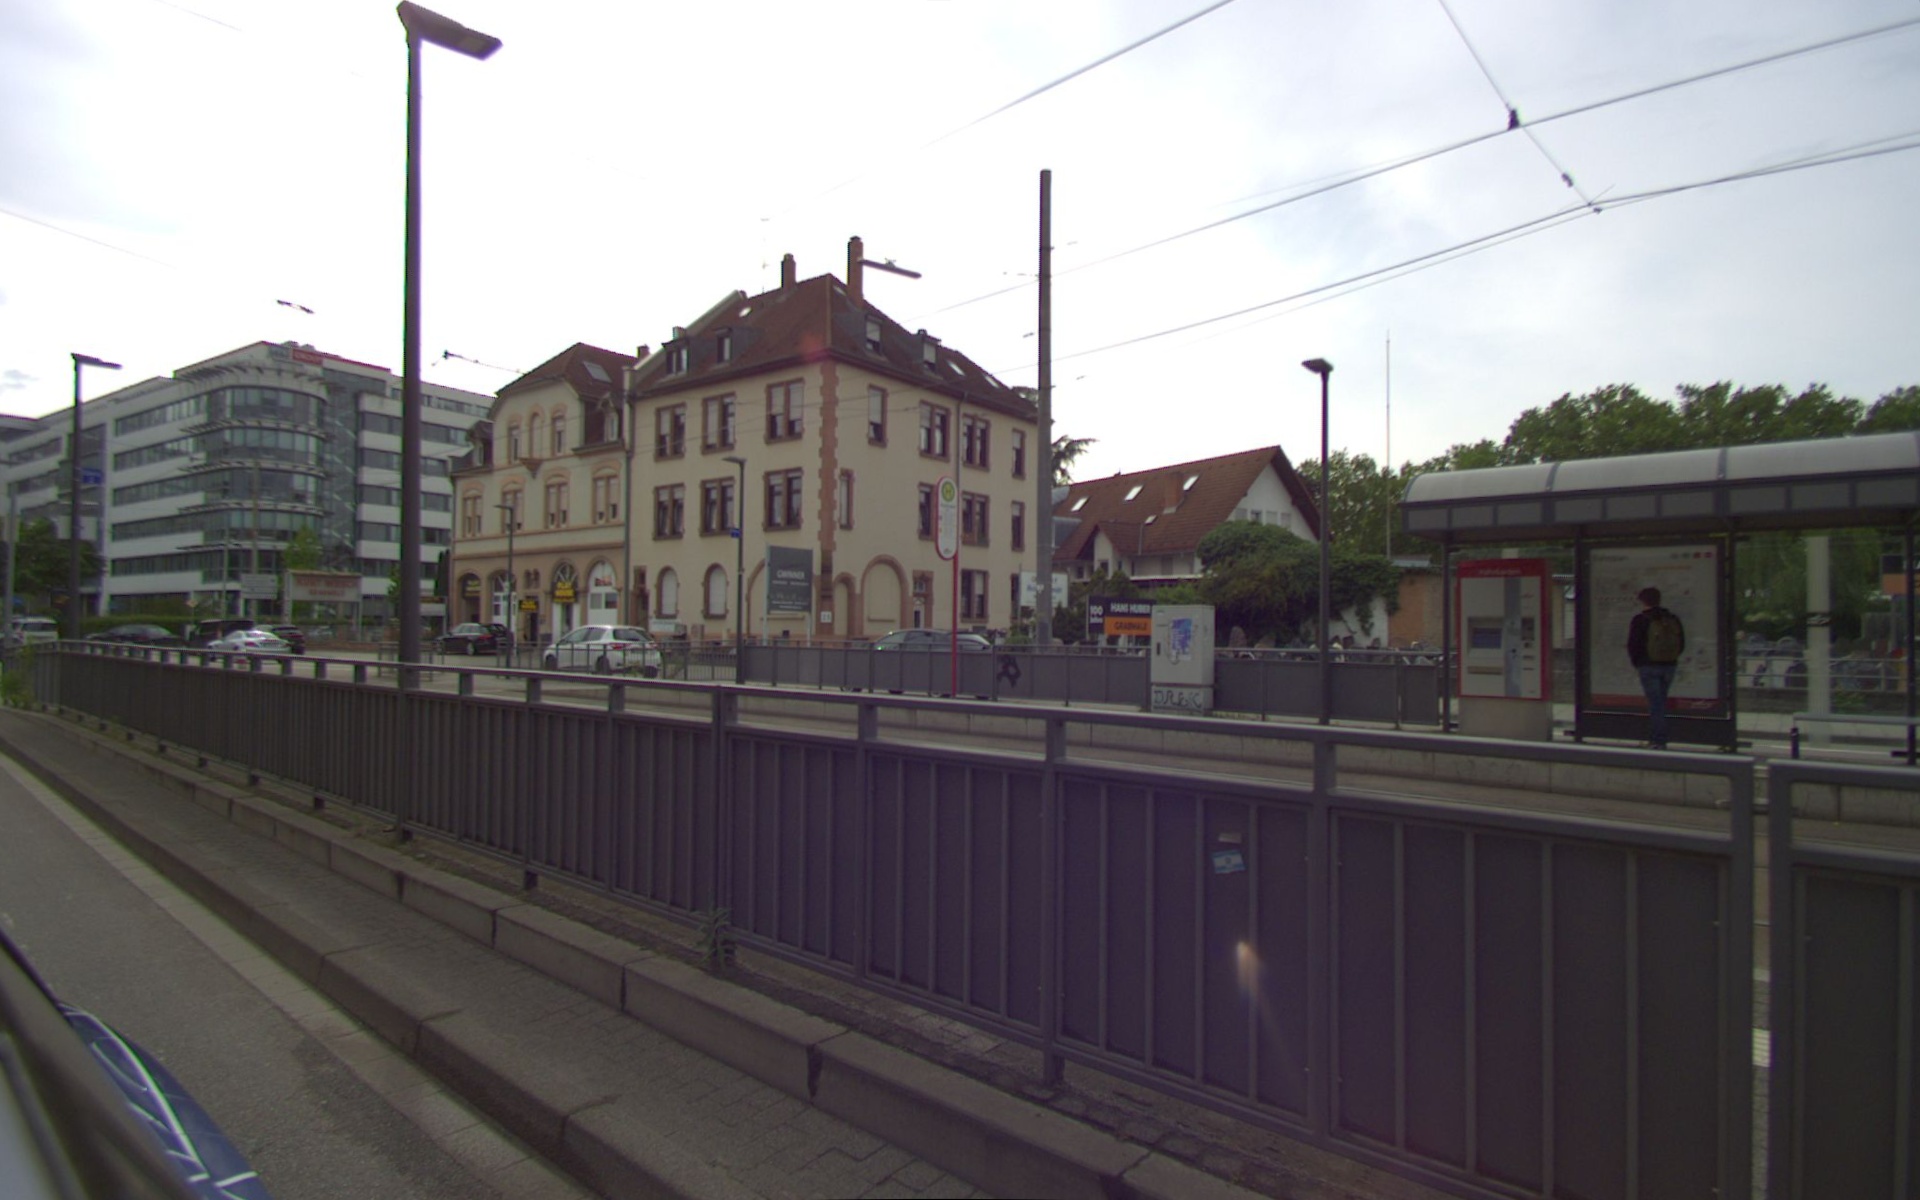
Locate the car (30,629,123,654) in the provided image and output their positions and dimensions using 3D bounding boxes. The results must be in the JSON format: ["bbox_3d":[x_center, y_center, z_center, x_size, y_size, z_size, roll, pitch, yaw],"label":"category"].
[{"bbox_3d":[-54.588,2.541,62.625,3.920,1.462,1.821,1,-2,-14],"label":"car"}]

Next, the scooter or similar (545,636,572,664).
[{"bbox_3d":[-16.530,2.070,41.702,0.521,1.110,1.175,0,-1,7],"label":"scooter or similar"}]

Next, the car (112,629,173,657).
[{"bbox_3d":[-48.423,2.535,60.033,1.765,1.542,4.154,3,-3,-25],"label":"car"}]

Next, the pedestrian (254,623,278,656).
[{"bbox_3d":[-39.298,2.220,57.309,1.058,1.839,0.796,-1,-1,38],"label":"pedestrian"}]

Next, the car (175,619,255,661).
[{"bbox_3d":[-39.635,2.080,53.803,5.174,2.029,1.969,0,0,36],"label":"car"}]

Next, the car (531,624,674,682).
[{"bbox_3d":[-10.130,1.486,28.570,3.992,1.497,1.847,-1,-5,36],"label":"car"}]

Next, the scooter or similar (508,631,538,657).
[{"bbox_3d":[-19.961,2.007,46.254,0.526,1.110,1.165,-1,1,32],"label":"scooter or similar"}]

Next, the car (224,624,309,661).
[{"bbox_3d":[-34.803,2.111,50.760,4.523,1.762,2.020,-2,-1,34],"label":"car"}]

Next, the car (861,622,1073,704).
[{"bbox_3d":[0.098,1.217,20.401,3.991,1.462,1.748,0,-3,35],"label":"car"}]

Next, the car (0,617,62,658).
[{"bbox_3d":[-48.110,1.893,51.875,4.509,2.004,1.870,0,-3,32],"label":"car"}]

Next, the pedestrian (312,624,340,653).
[{"bbox_3d":[-45.349,2.779,72.415,1.180,2.029,1.207,0,-2,22],"label":"pedestrian"}]

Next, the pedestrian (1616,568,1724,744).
[{"bbox_3d":[7.045,0.540,10.077,0.610,1.677,0.695,0,-1,8],"label":"pedestrian"}]

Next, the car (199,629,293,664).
[{"bbox_3d":[-28.930,1.883,40.990,3.821,1.308,1.737,0,-2,32],"label":"car"}]

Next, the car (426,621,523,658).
[{"bbox_3d":[-22.880,1.818,47.625,4.894,1.503,1.976,-1,4,37],"label":"car"}]

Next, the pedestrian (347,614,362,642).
[{"bbox_3d":[-38.800,1.780,64.864,0.761,1.787,0.628,-1,-1,40],"label":"pedestrian"}]
